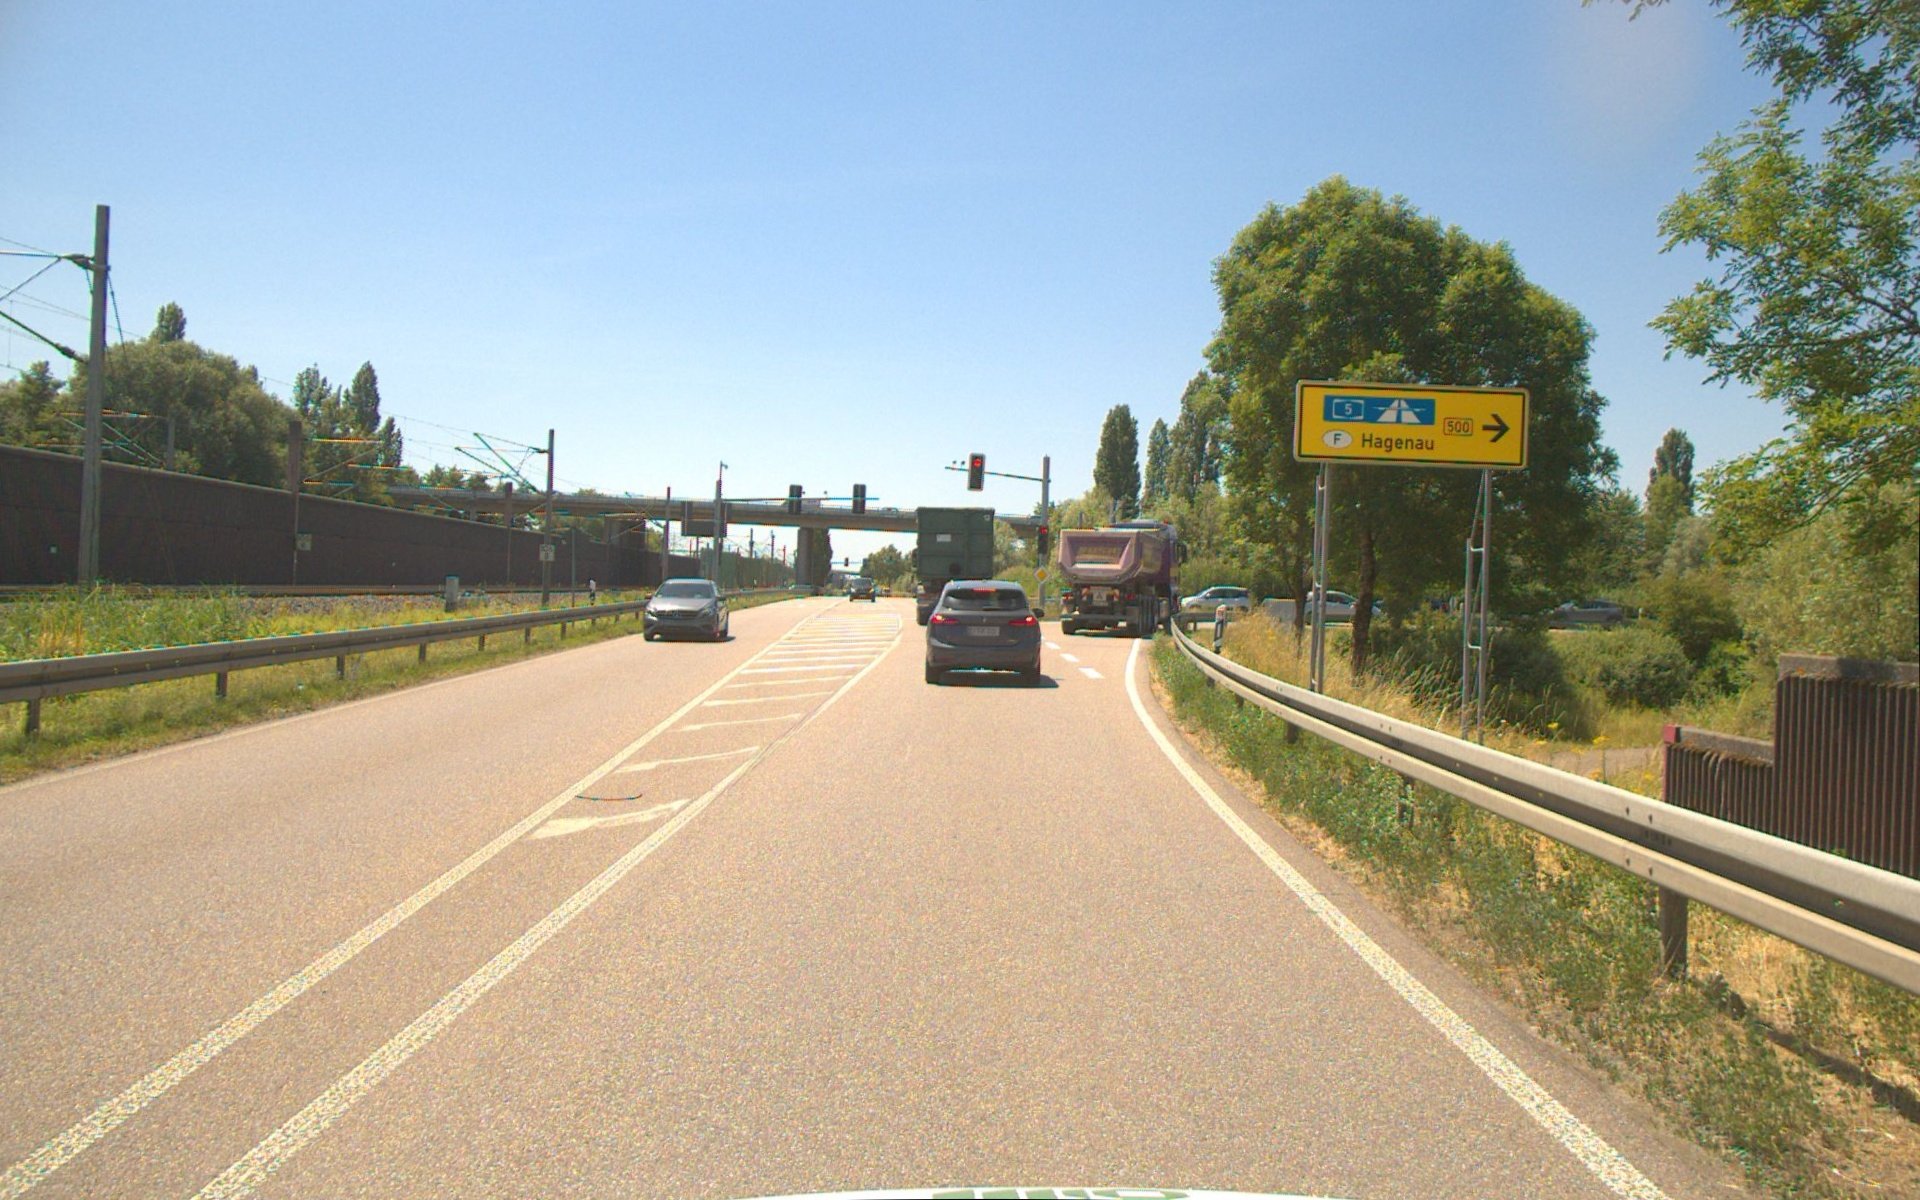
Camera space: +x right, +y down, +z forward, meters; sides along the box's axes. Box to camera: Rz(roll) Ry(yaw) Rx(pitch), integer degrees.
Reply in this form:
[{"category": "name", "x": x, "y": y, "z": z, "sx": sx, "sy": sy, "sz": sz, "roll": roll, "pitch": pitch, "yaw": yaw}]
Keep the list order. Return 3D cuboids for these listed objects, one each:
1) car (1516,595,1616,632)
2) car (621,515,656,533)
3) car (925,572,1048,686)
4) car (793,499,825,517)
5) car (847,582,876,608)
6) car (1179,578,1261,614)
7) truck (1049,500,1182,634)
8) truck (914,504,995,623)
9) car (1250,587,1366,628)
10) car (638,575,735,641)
[{"category": "car", "x": 29.473, "y": 0.652, "z": 80.547, "sx": 4.139, "sy": 1.660, "sz": 1.933, "roll": 1, "pitch": 0, "yaw": -1}, {"category": "car", "x": -38.771, "y": -9.151, "z": 199.544, "sx": 3.907, "sy": 2.049, "sz": 1.999, "roll": 1, "pitch": 0, "yaw": -3}, {"category": "car", "x": 0.378, "y": 0.416, "z": 26.631, "sx": 1.807, "sy": 1.651, "sz": 4.225, "roll": 1, "pitch": 0, "yaw": 0}, {"category": "car", "x": -19.329, "y": -11.735, "z": 211.436, "sx": 3.907, "sy": 2.049, "sz": 1.999, "roll": 1, "pitch": 0, "yaw": -3}, {"category": "car", "x": -7.344, "y": -0.365, "z": 123.715, "sx": 1.888, "sy": 1.798, "sz": 4.597, "roll": 2, "pitch": 1, "yaw": -1}, {"category": "car", "x": 12.579, "y": -0.177, "z": 80.227, "sx": 3.632, "sy": 1.660, "sz": 1.734, "roll": 1, "pitch": 0, "yaw": -3}, {"category": "truck", "x": 5.352, "y": -1.011, "z": 54.638, "sx": 2.773, "sy": 3.888, "sz": 11.895, "roll": 1, "pitch": 0, "yaw": 13}, {"category": "truck", "x": -0.288, "y": -1.252, "z": 58.165, "sx": 2.537, "sy": 3.802, "sz": 9.573, "roll": 1, "pitch": 1, "yaw": -1}, {"category": "car", "x": 15.062, "y": 0.299, "z": 71.671, "sx": 4.556, "sy": 1.660, "sz": 1.932, "roll": 1, "pitch": 0, "yaw": -4}, {"category": "car", "x": -6.713, "y": 0.168, "z": 41.034, "sx": 1.827, "sy": 1.511, "sz": 4.885, "roll": 1, "pitch": 0, "yaw": -3}]
